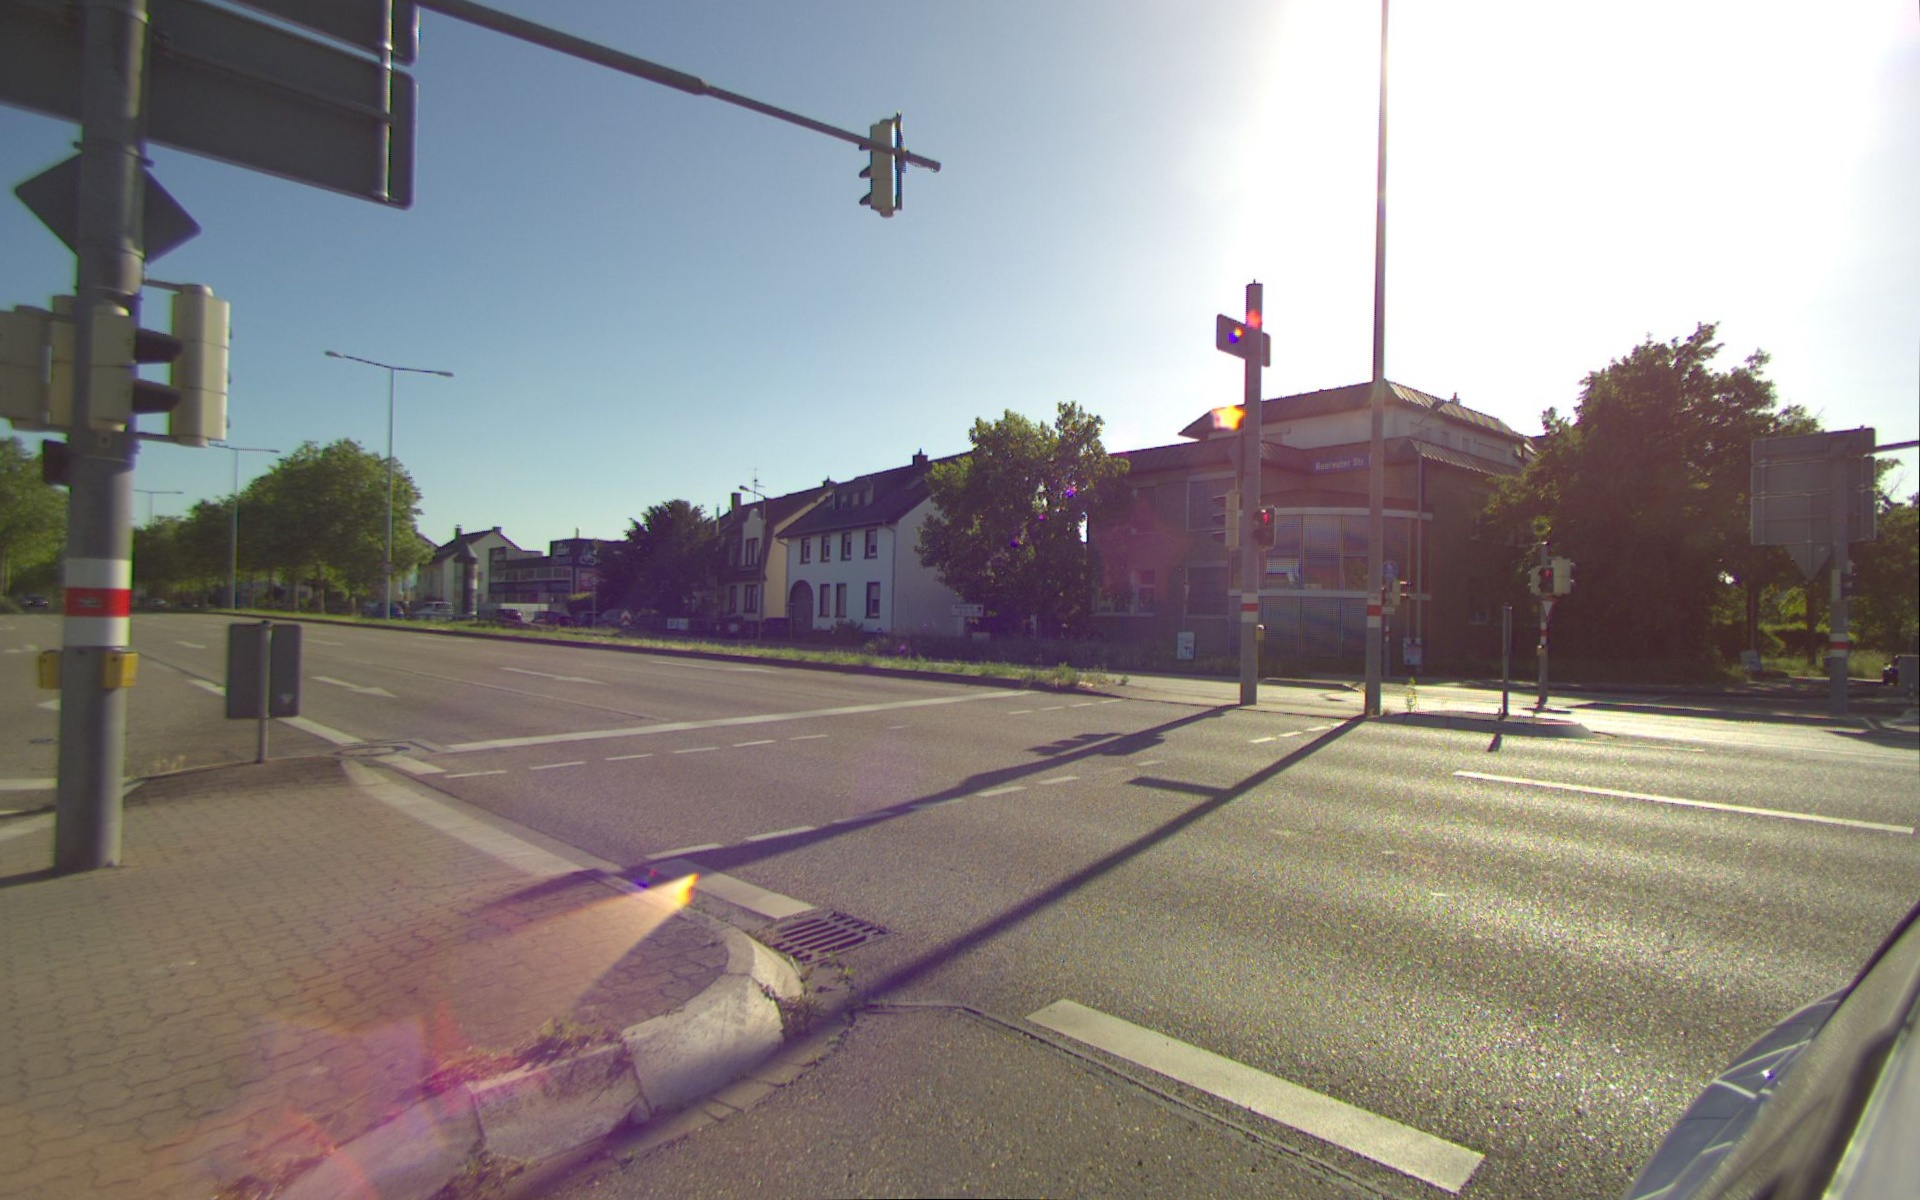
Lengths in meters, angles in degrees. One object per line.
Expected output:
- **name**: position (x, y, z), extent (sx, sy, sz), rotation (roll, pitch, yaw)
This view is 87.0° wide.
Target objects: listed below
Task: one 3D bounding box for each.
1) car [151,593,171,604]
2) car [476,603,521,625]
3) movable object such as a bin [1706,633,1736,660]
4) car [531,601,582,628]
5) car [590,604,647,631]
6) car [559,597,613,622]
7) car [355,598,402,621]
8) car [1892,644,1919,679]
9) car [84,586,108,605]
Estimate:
- **car**: position (-117.965, -0.214, 149.382), extent (1.828, 1.612, 3.990), rotation (3, -2, -44)
- **car**: position (-36.363, 1.156, 79.767), extent (1.967, 1.612, 3.988), rotation (3, -4, -44)
- **movable object such as a bin**: position (39.294, 2.407, 52.266), extent (0.782, 1.339, 1.089), rotation (3, -2, -39)
- **car**: position (-29.120, 1.040, 72.968), extent (1.967, 1.842, 3.988), rotation (3, -4, -44)
- **car**: position (-22.220, 1.103, 65.731), extent (1.967, 1.639, 3.990), rotation (3, -2, -44)
- **car**: position (-25.650, 0.688, 69.371), extent (1.967, 1.617, 3.988), rotation (3, -4, -44)
- **car**: position (-39.278, 0.636, 68.296), extent (3.781, 1.459, 1.709), rotation (1, -2, 44)
- **car**: position (43.707, 2.787, 45.718), extent (4.138, 1.505, 1.776), rotation (3, 0, -39)
- **car**: position (-109.790, -0.599, 128.579), extent (3.984, 2.322, 1.814), rotation (1, -1, 42)
